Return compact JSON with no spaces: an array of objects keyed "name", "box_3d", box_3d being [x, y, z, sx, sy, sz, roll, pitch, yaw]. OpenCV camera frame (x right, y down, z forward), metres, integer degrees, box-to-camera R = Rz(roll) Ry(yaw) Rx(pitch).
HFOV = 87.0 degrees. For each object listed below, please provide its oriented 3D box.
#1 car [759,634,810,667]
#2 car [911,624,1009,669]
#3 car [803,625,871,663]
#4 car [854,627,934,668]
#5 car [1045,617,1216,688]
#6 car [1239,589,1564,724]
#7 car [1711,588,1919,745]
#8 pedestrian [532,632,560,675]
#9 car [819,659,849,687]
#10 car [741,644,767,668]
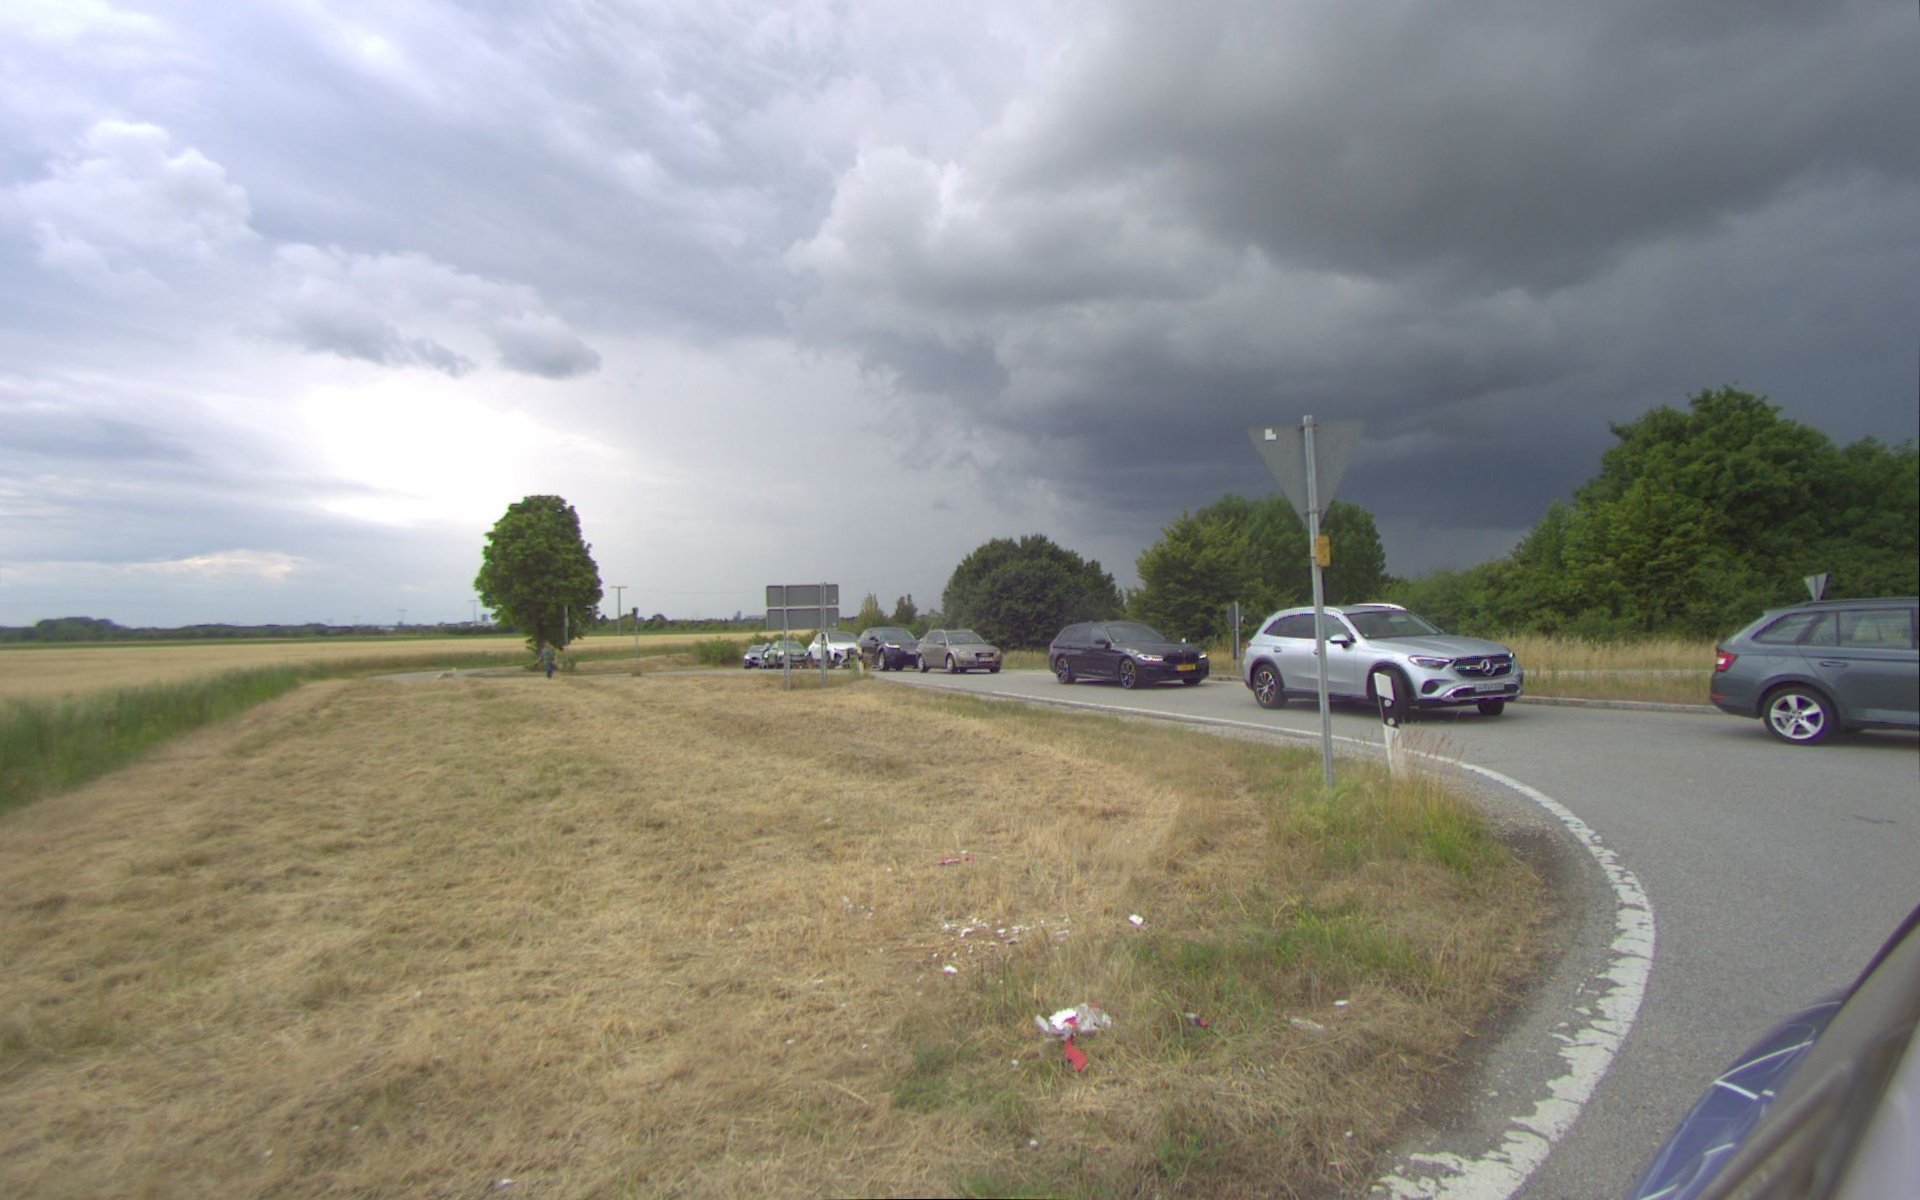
[{"name":"car","box_3d":[-9.250,2.605,53.089,1.687,1.513,4.220,-3,-1,-23]},{"name":"car","box_3d":[-0.077,1.506,33.602,1.686,1.371,4.220,-1,-1,-23]},{"name":"car","box_3d":[-5.546,1.922,45.153,1.687,1.513,4.645,-3,-1,-23]},{"name":"car","box_3d":[-2.590,1.773,38.739,1.687,1.370,4.220,-3,-1,-23]},{"name":"car","box_3d":[3.793,1.152,23.490,1.686,1.370,4.703,-3,0,-21]},{"name":"car","box_3d":[6.355,0.766,15.223,1.956,1.606,4.402,-3,0,-18]},{"name":"car","box_3d":[10.034,0.604,9.751,1.686,1.466,4.116,-2,-1,-34]},{"name":"pedestrian","box_3d":[-16.007,2.052,39.127,0.760,1.632,0.943,0,-2,-41]},{"name":"car","box_3d":[-8.882,5.121,71.378,1.959,1.687,4.428,-1,-1,-7]},{"name":"car","box_3d":[-13.698,3.708,67.302,1.541,1.364,3.504,-1,0,-9]}]
